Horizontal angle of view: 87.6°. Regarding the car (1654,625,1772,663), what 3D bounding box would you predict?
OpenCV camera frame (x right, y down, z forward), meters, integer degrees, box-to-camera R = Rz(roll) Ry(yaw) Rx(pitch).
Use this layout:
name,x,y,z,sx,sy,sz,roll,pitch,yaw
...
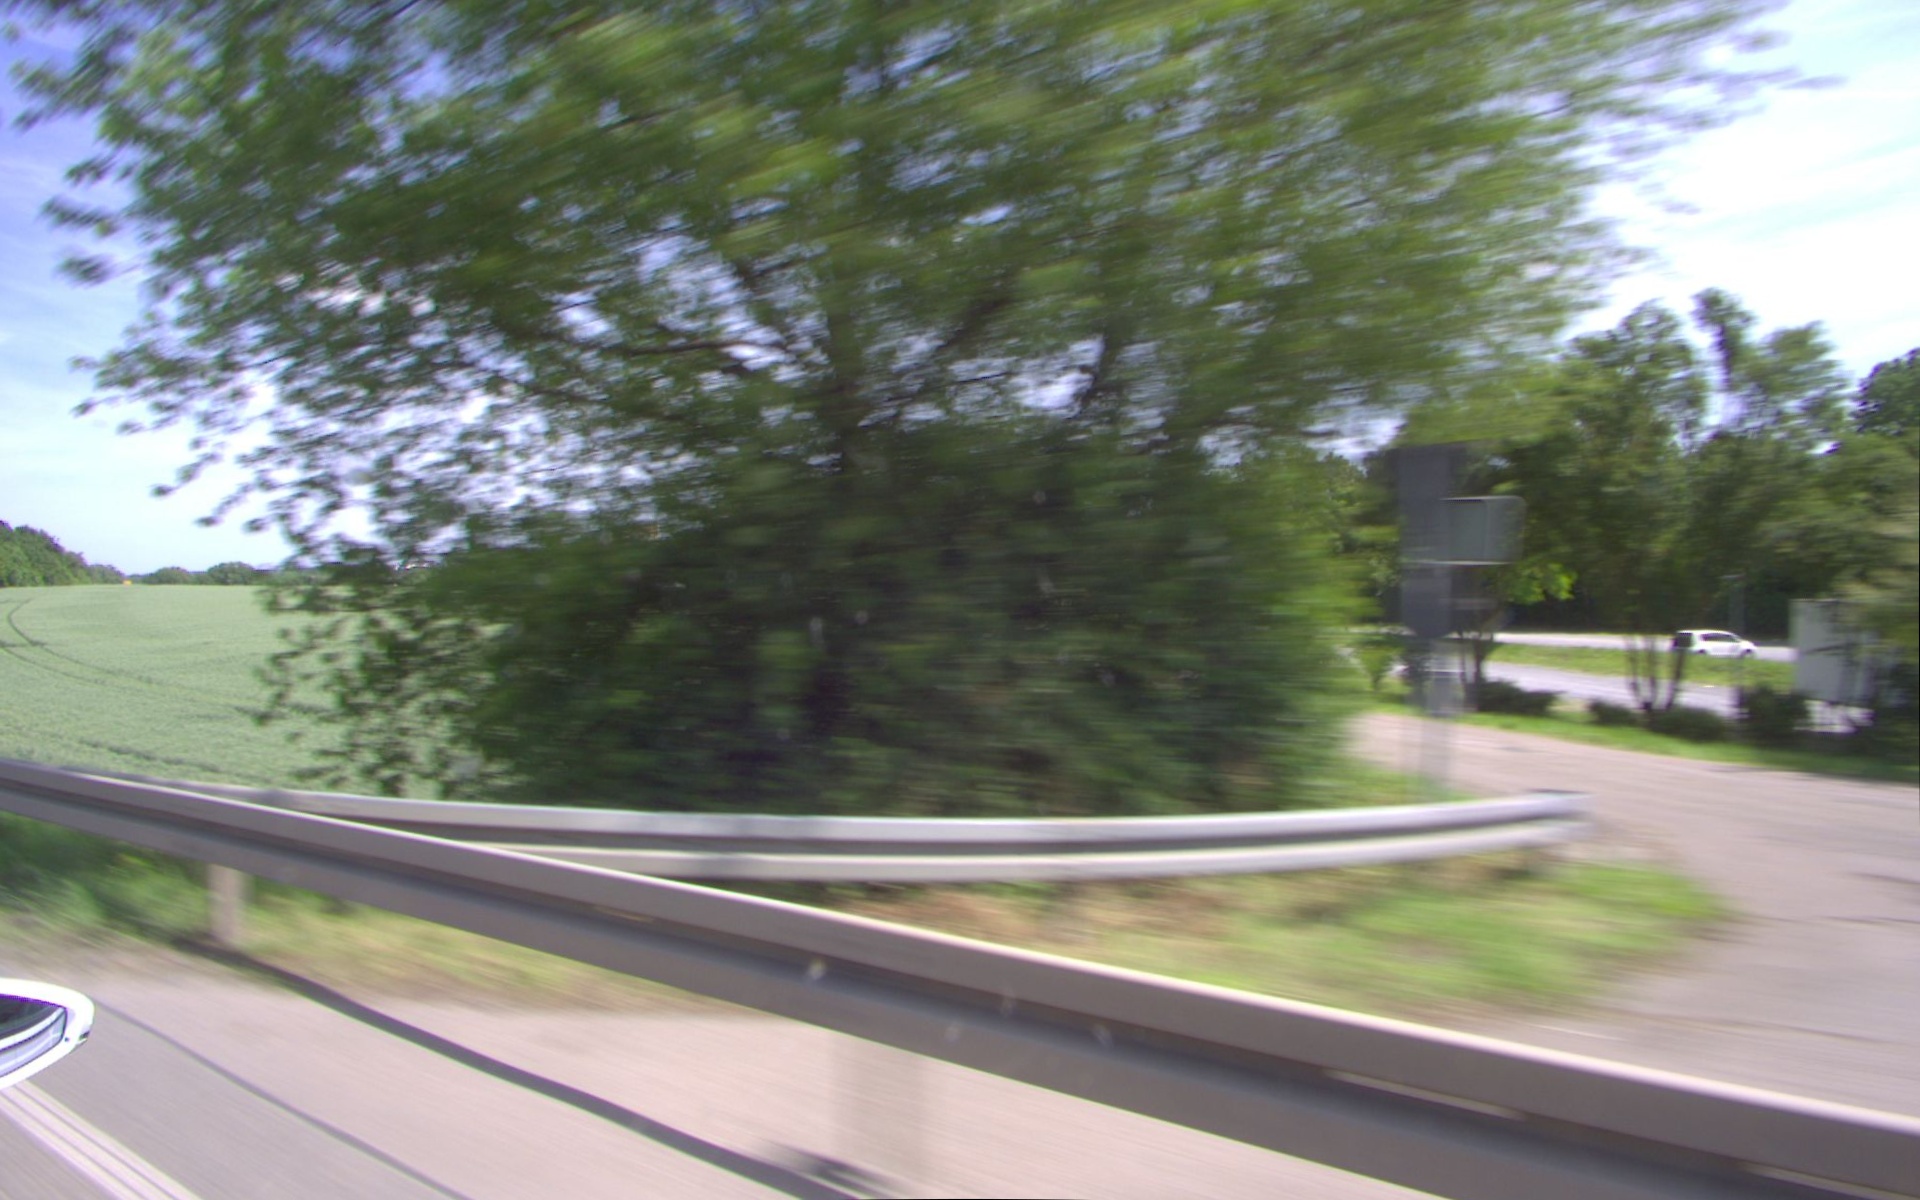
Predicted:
name,x,y,z,sx,sy,sz,roll,pitch,yaw
car,36.080,2.073,48.046,4.261,1.681,1.999,0,1,-5
